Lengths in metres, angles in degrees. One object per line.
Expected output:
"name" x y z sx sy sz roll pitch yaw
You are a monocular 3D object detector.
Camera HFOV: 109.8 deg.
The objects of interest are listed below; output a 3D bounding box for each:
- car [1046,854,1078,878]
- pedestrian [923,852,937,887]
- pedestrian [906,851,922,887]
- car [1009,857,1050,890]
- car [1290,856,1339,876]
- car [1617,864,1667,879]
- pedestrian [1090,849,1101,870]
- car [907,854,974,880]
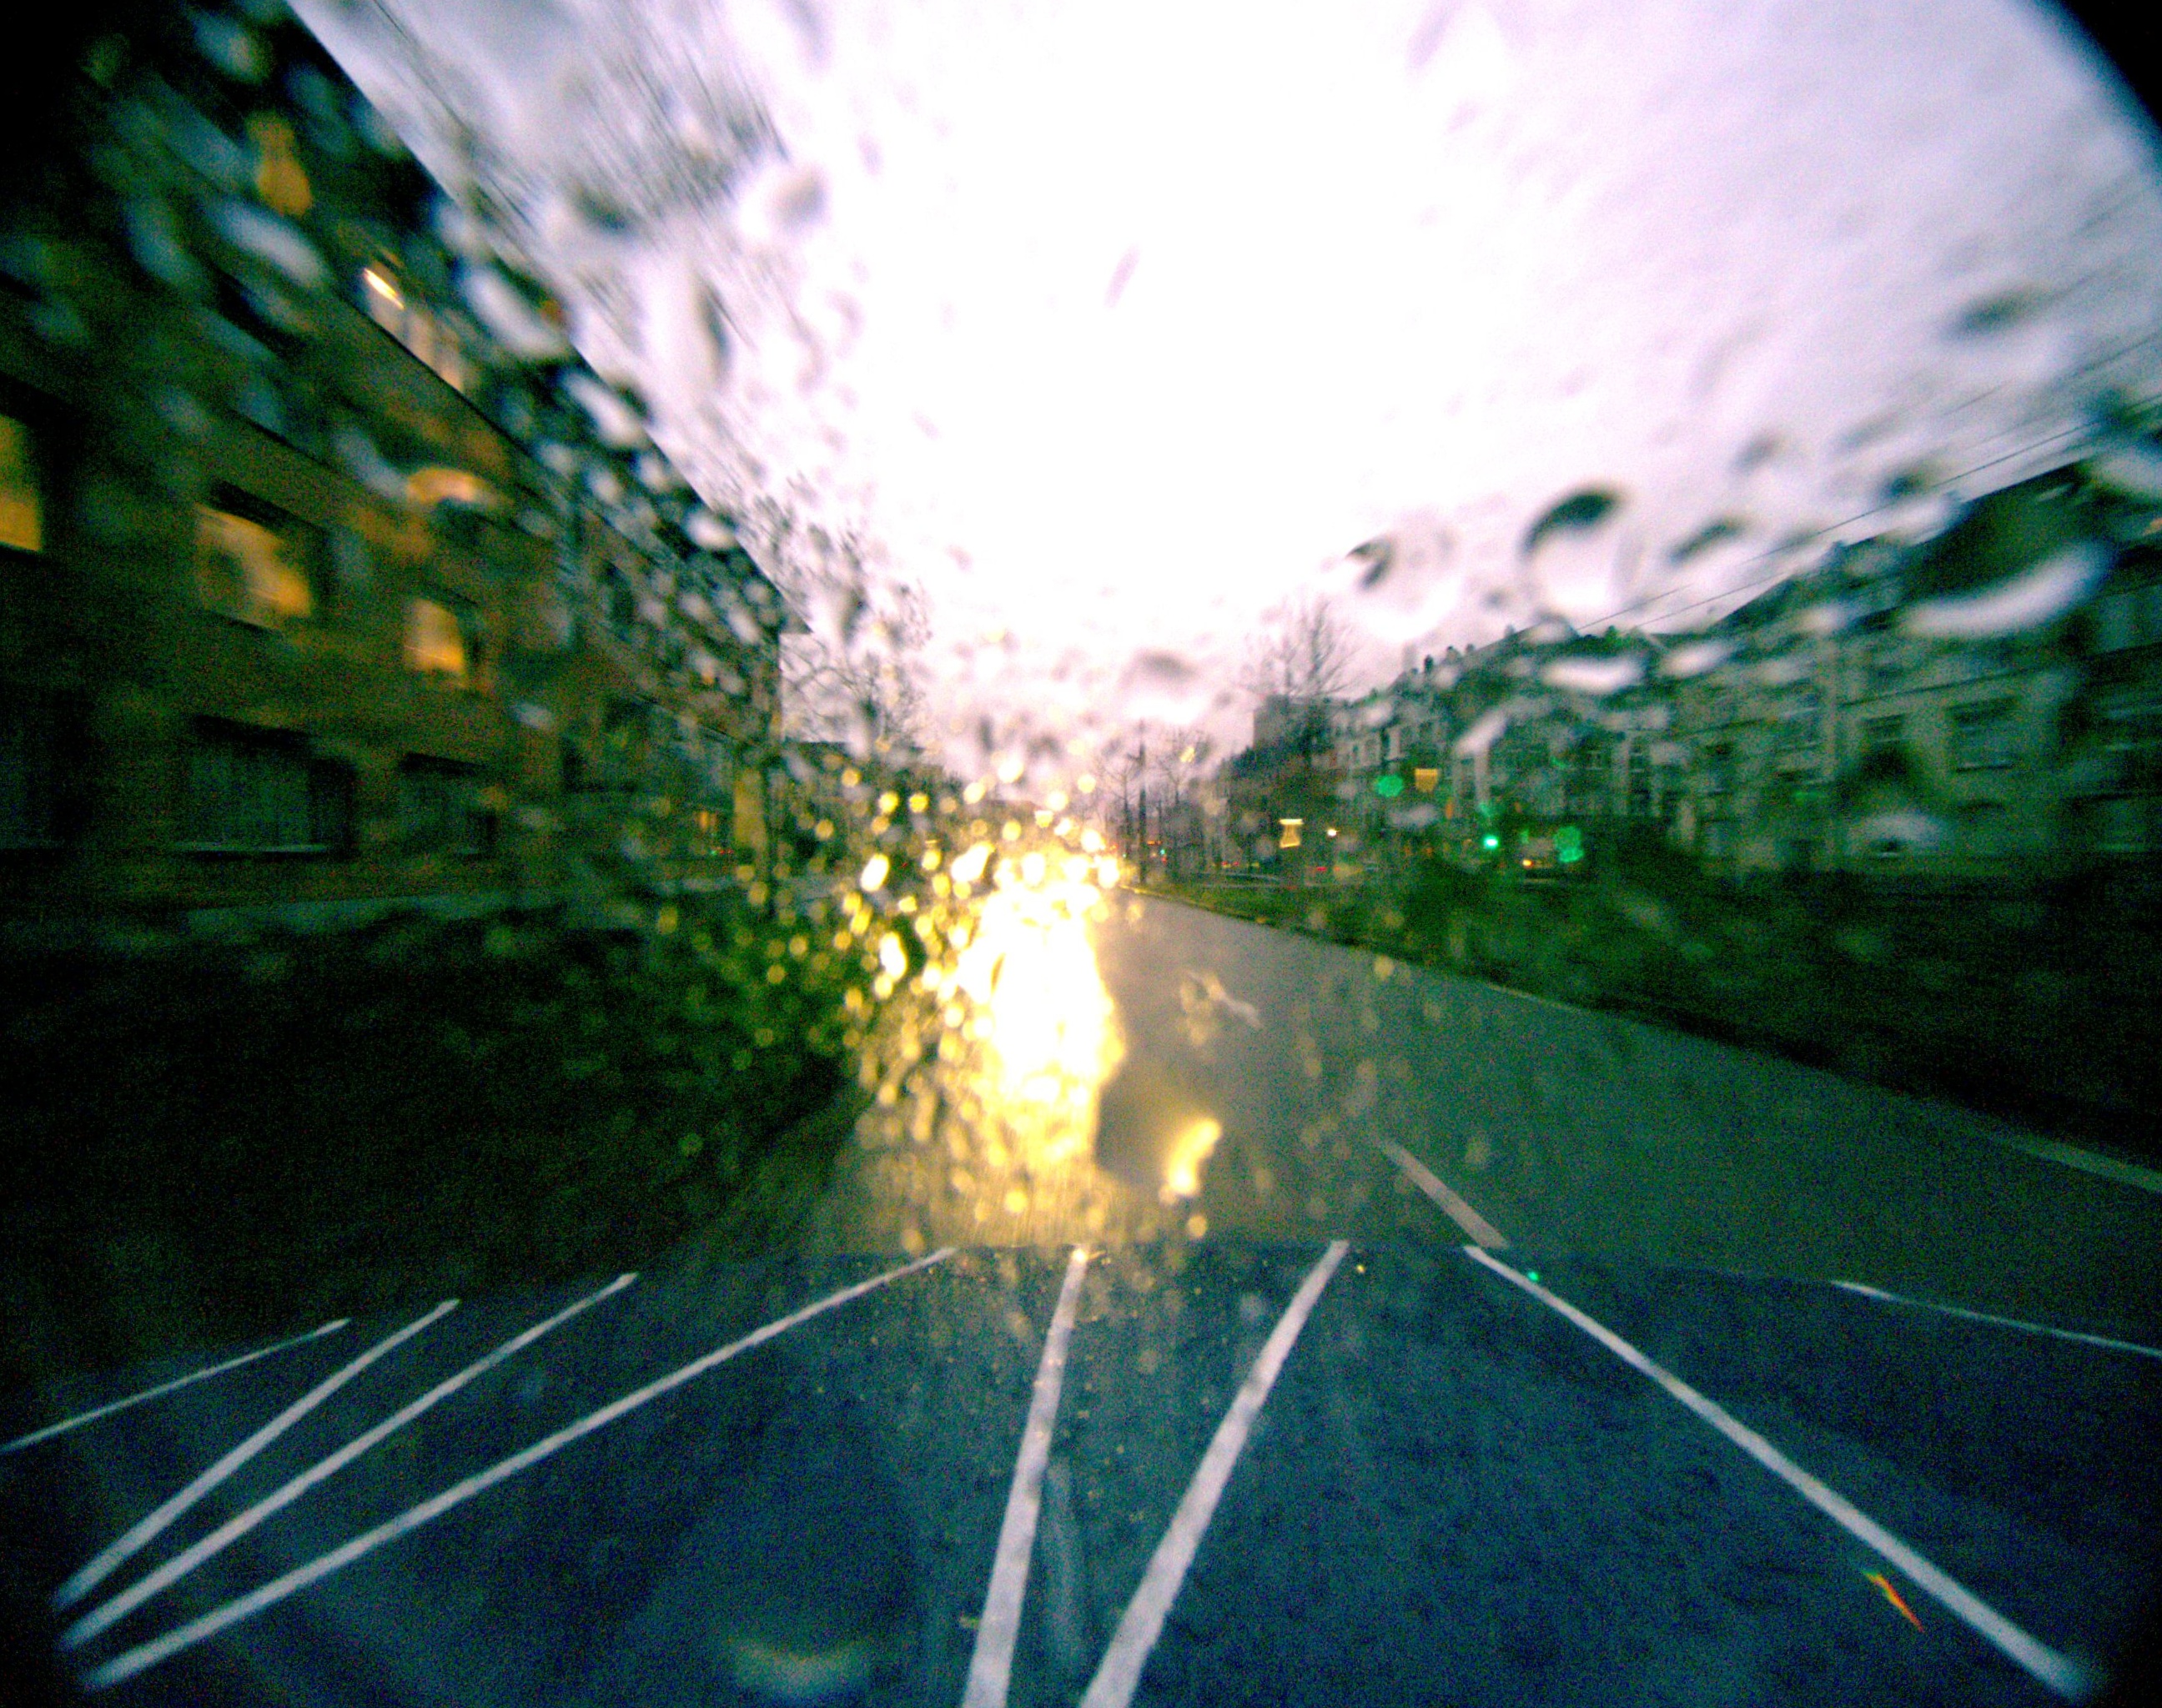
"car" -1.313 0.772 50.272 1.814 1.487 4.051 -2 0 -5
"pedestrian" -7.823 0.784 39.311 0.506 1.814 0.656 0 0 -31
"pedestrian" -8.138 0.742 36.968 0.506 1.732 0.656 0 0 -38
"car" -2.491 0.882 36.257 1.814 1.384 4.051 -2 0 -5
"car" 17.652 0.891 57.602 1.870 1.444 4.697 0 0 -5
"car" 42.578 1.323 57.715 2.899 1.068 1.330 0 0 -6
"pedestrian" 1.401 0.525 73.343 0.877 2.002 0.931 1 0 5
"car" -8.873 0.829 48.333 3.999 1.546 1.741 1 0 -4
